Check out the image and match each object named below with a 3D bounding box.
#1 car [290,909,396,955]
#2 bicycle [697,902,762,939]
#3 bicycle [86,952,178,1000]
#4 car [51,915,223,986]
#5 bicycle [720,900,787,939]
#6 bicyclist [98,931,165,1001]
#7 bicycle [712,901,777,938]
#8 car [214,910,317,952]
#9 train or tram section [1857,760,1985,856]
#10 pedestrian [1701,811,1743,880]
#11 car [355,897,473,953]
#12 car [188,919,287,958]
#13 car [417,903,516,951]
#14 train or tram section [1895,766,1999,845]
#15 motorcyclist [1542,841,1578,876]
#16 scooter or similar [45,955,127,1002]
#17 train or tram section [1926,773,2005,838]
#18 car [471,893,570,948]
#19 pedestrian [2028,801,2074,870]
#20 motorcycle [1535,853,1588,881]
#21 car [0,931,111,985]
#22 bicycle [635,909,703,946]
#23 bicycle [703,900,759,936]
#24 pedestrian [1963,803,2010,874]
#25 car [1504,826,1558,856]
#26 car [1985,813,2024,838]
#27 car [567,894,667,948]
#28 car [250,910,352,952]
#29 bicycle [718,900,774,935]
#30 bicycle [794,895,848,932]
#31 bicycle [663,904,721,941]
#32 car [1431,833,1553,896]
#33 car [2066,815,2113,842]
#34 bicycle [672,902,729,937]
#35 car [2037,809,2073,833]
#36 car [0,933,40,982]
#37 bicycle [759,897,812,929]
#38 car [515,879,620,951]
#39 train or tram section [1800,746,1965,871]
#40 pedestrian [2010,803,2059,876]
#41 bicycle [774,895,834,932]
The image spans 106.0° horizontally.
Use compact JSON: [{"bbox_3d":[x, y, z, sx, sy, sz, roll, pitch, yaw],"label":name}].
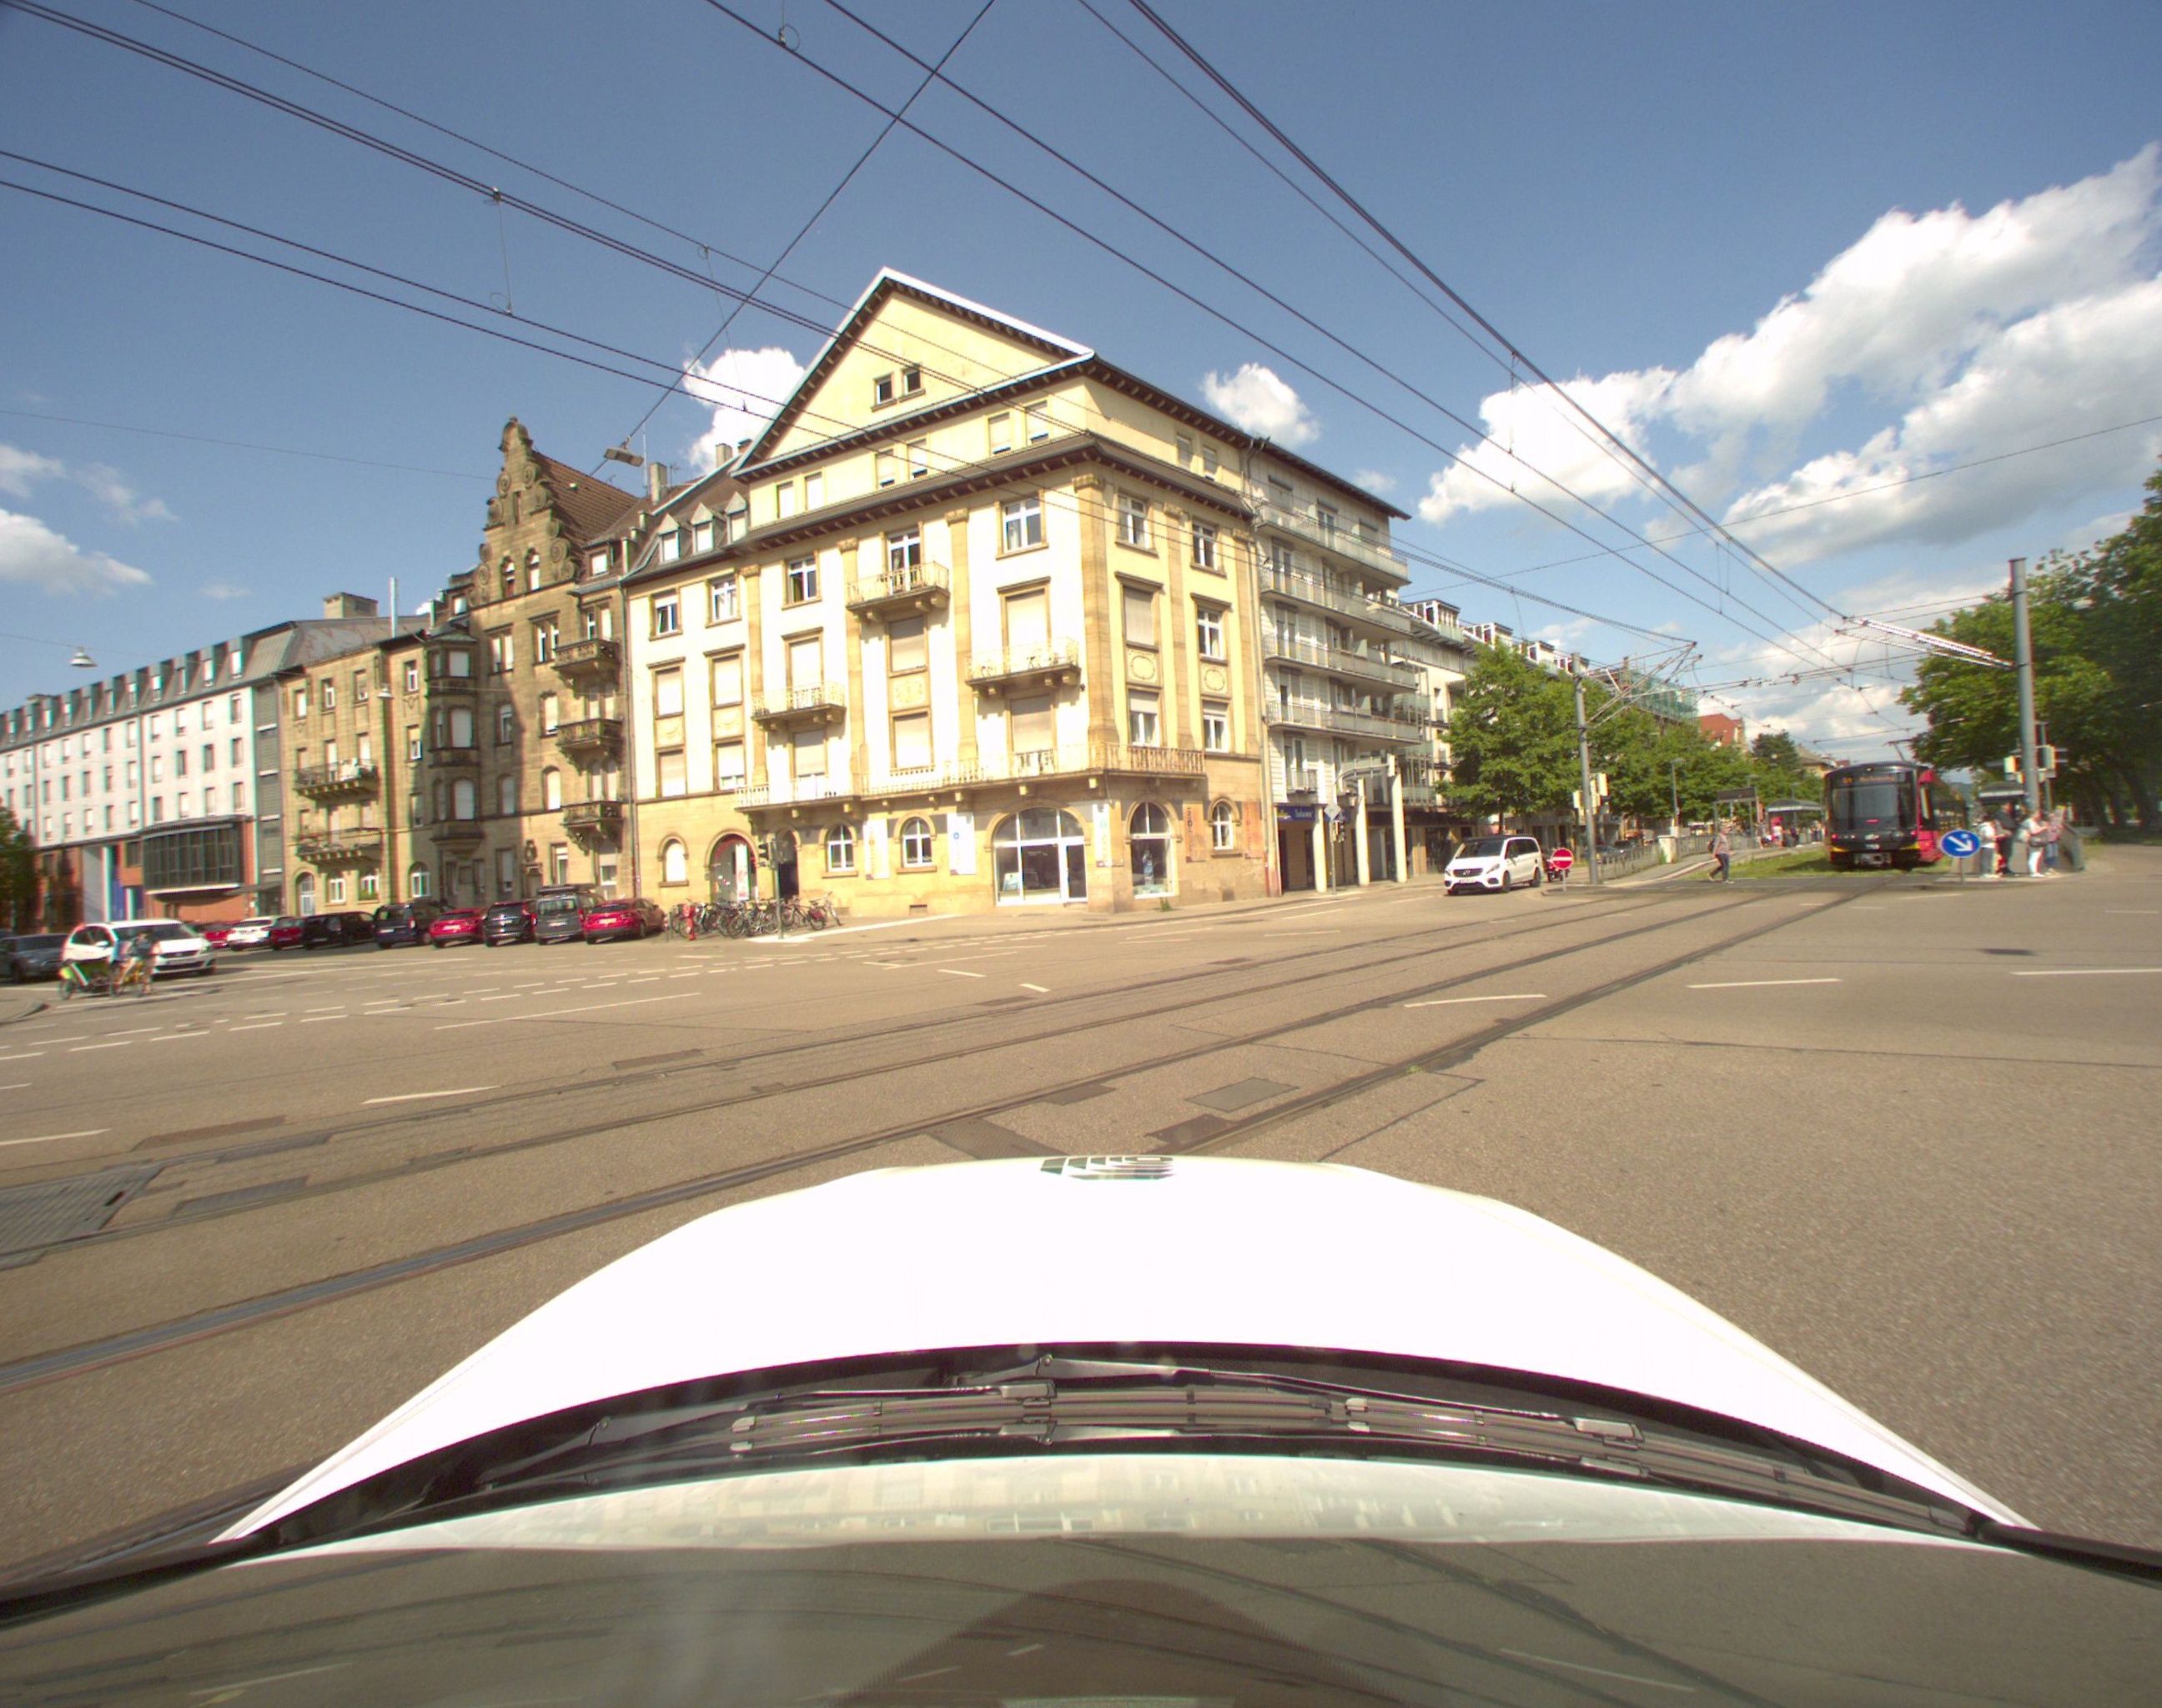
[{"bbox_3d":[-33.330,3.461,36.953,1.707,1.546,3.983,-4,1,-13],"label":"car"},{"bbox_3d":[-11.867,2.228,27.546,0.533,1.018,1.941,-4,1,37],"label":"bicycle"},{"bbox_3d":[-22.129,2.847,18.996,2.110,0.989,0.655,-4,-2,19],"label":"bicycle"},{"bbox_3d":[-27.056,2.764,23.325,4.607,1.740,1.825,-4,-1,22],"label":"car"},{"bbox_3d":[-10.770,2.139,26.823,1.887,1.018,0.595,-5,1,-41],"label":"bicycle"},{"bbox_3d":[-22.007,2.590,18.875,0.911,1.503,0.655,-4,0,19],"label":"bicyclist"},{"bbox_3d":[-11.288,2.183,27.400,0.533,1.018,1.941,-4,1,37],"label":"bicycle"},{"bbox_3d":[-38.917,3.644,38.998,1.603,1.500,3.759,-4,1,-13],"label":"car"},{"bbox_3d":[37.148,-1.954,35.831,11.238,3.561,2.782,-3,-1,-39],"label":"train or tram section"},{"bbox_3d":[19.292,-0.245,24.520,0.707,2.014,0.732,-2,-1,-36],"label":"pedestrian"},{"bbox_3d":[-28.237,2.949,34.650,1.909,1.824,3.991,-4,1,-7],"label":"car"},{"bbox_3d":[-41.624,4.151,40.302,1.603,1.396,3.558,-4,1,-13],"label":"car"},{"bbox_3d":[-25.002,2.939,33.335,1.916,1.444,3.976,-4,1,-18],"label":"car"},{"bbox_3d":[46.187,-2.524,43.272,12.219,3.561,2.782,-3,-1,-39],"label":"train or tram section"},{"bbox_3d":[19.821,0.188,33.694,1.094,1.404,0.886,-2,-1,-41],"label":"motorcyclist"},{"bbox_3d":[-23.728,2.960,19.436,1.118,0.977,0.895,-4,-2,19],"label":"scooter or similar"},{"bbox_3d":[54.385,-2.926,49.998,8.953,3.483,2.743,-2,-1,-40],"label":"train or tram section"},{"bbox_3d":[-21.819,2.534,31.895,1.707,1.668,3.983,-4,1,-13],"label":"car"},{"bbox_3d":[24.738,-0.461,20.774,0.651,1.703,0.664,-2,-2,-39],"label":"pedestrian"},{"bbox_3d":[19.939,0.533,33.753,3.118,1.023,0.886,-2,-1,-41],"label":"motorcycle"},{"bbox_3d":[-32.658,3.268,25.627,3.691,1.450,1.684,-4,-1,22],"label":"car"},{"bbox_3d":[-13.459,2.408,26.618,1.912,1.018,0.541,-4,1,7],"label":"bicycle"},{"bbox_3d":[-12.502,2.267,29.150,0.534,1.018,1.940,-4,1,23],"label":"bicycle"},{"bbox_3d":[22.600,-0.381,20.337,0.651,1.703,0.664,-2,-2,-39],"label":"pedestrian"},{"bbox_3d":[28.867,-0.840,52.163,4.022,1.789,1.830,-2,1,-43],"label":"car"},{"bbox_3d":[73.873,-2.299,65.150,4.020,1.804,1.800,-2,-1,-39],"label":"car"},{"bbox_3d":[-16.640,2.357,29.446,1.964,1.441,3.983,-4,1,-13],"label":"car"},{"bbox_3d":[-36.257,3.525,37.987,1.603,1.455,3.759,-4,1,-13],"label":"car"},{"bbox_3d":[-11.863,2.242,28.907,0.534,1.018,1.940,-4,1,23],"label":"bicycle"},{"bbox_3d":[-8.717,1.997,27.359,0.603,1.018,1.887,-4,1,21],"label":"bicycle"},{"bbox_3d":[-13.454,2.350,28.251,0.534,1.018,1.938,-4,1,19],"label":"bicycle"},{"bbox_3d":[14.298,0.318,28.181,5.201,1.891,1.975,-2,-1,-43],"label":"car"},{"bbox_3d":[62.697,-1.599,50.654,3.624,1.453,1.733,-3,-1,-39],"label":"car"},{"bbox_3d":[-13.664,2.342,29.313,0.534,1.018,1.940,-4,1,23],"label":"bicycle"},{"bbox_3d":[90.371,-3.070,75.580,4.021,2.013,1.976,-2,0,-41],"label":"car"},{"bbox_3d":[-39.009,3.719,28.761,4.023,1.597,1.712,-4,-1,22],"label":"car"},{"bbox_3d":[-10.497,2.100,28.891,1.904,1.018,0.543,-4,1,27],"label":"bicycle"},{"bbox_3d":[-19.372,2.216,30.939,1.964,2.081,3.984,-4,4,-13],"label":"car"},{"bbox_3d":[28.387,-1.520,28.580,11.435,3.561,2.772,-3,-1,-39],"label":"train or tram section"},{"bbox_3d":[23.068,-0.347,19.712,0.651,1.703,0.664,-2,-2,-39],"label":"pedestrian"},{"bbox_3d":[-9.402,2.013,27.732,0.602,1.018,1.889,-4,1,32],"label":"bicycle"}]
